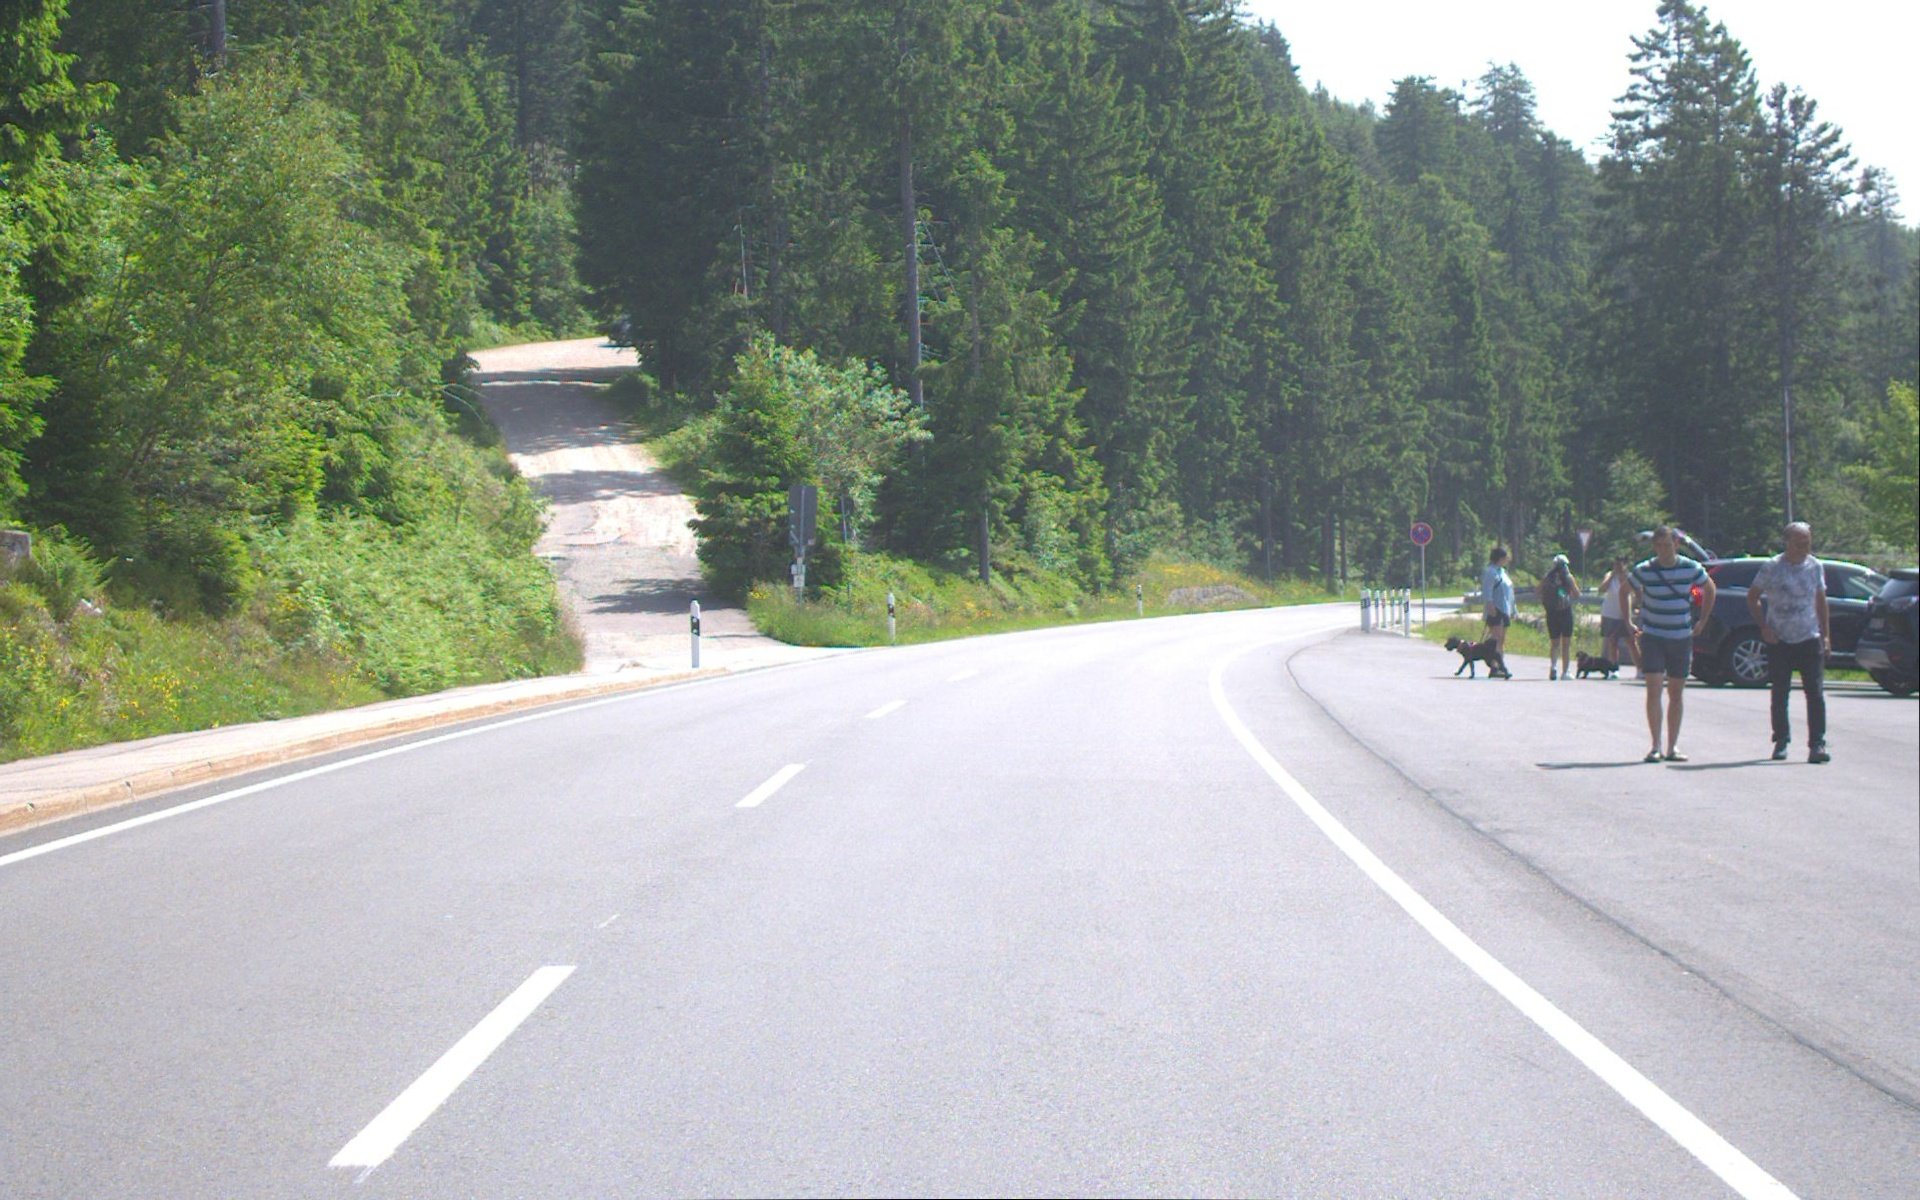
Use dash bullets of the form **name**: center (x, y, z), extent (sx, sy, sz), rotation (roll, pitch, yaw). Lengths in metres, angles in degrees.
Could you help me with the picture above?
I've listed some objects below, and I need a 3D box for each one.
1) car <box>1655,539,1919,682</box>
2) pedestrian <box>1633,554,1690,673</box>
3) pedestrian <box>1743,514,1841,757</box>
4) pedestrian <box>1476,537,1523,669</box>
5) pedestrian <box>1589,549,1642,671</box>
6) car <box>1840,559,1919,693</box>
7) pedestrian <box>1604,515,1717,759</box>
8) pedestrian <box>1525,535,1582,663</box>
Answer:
- **car**: center (11.232, 0.115, 43.988), extent (4.263, 1.787, 1.892), rotation (0, 1, -1)
- **pedestrian**: center (9.512, 0.180, 46.596), extent (0.617, 1.582, 0.735), rotation (-1, 2, 20)
- **pedestrian**: center (6.066, 0.243, 25.036), extent (0.665, 1.735, 0.894), rotation (0, 1, 15)
- **pedestrian**: center (7.296, 0.031, 46.532), extent (0.617, 1.769, 0.723), rotation (0, 1, 8)
- **pedestrian**: center (9.104, 0.134, 47.752), extent (0.653, 1.654, 0.687), rotation (-1, 2, 14)
- **car**: center (12.610, 0.293, 41.049), extent (3.751, 1.562, 1.600), rotation (0, 1, -5)
- **pedestrian**: center (5.134, 0.256, 25.172), extent (0.754, 1.754, 0.775), rotation (0, 1, 15)
- **pedestrian**: center (7.897, -0.017, 45.764), extent (0.716, 1.686, 0.619), rotation (0, 1, 8)
